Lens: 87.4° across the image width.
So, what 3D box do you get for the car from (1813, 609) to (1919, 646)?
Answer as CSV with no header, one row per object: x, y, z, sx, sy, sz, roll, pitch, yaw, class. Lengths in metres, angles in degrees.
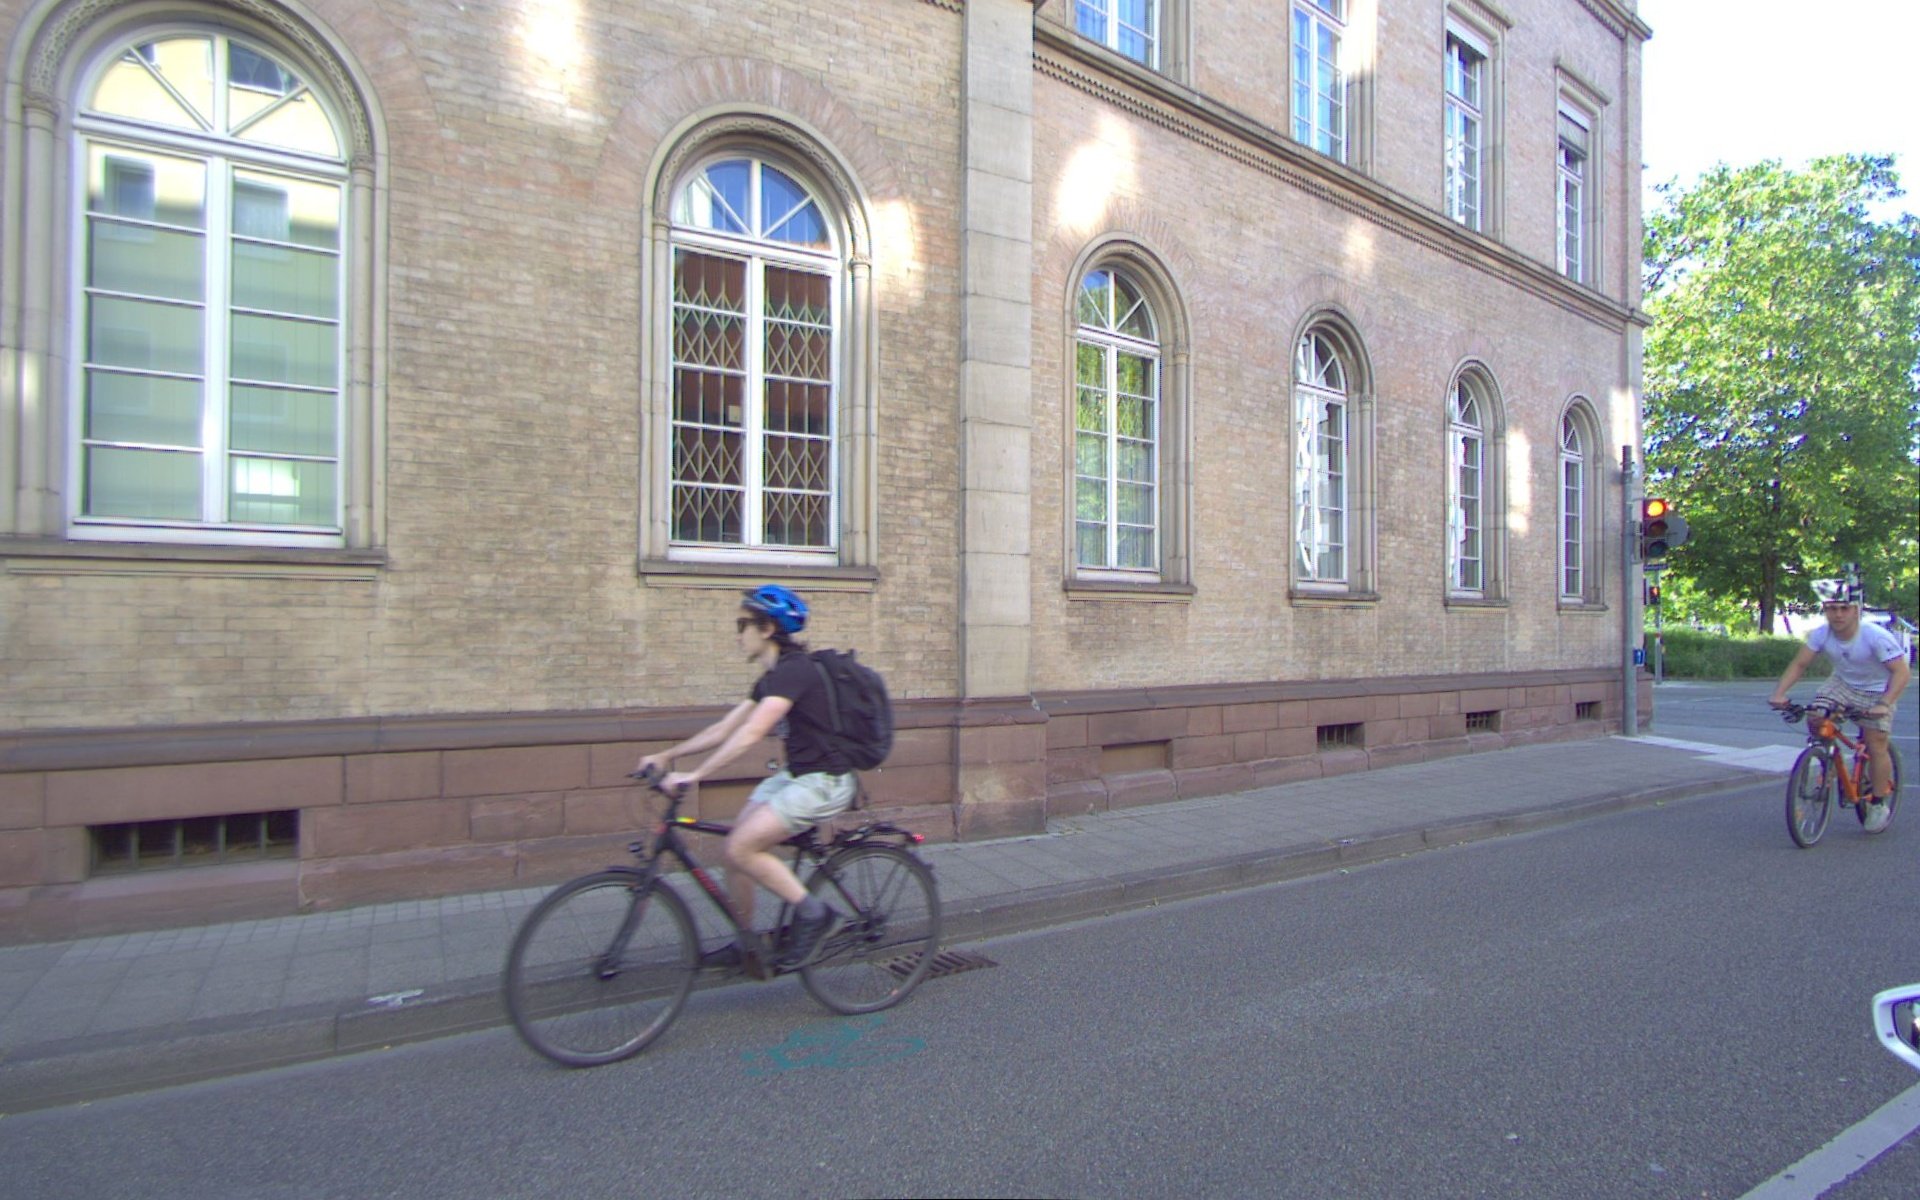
53.506,1.603,59.396,1.983,2.040,4.409,2,0,-38,car

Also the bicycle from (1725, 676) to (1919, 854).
6.774,1.196,7.643,1.941,1.167,0.624,1,-1,-23,bicycle

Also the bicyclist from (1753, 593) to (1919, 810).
6.691,0.731,7.623,0.905,1.543,0.701,1,-1,-22,bicyclist

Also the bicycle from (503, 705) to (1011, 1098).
-0.753,1.071,4.084,1.948,1.167,0.587,1,-1,-33,bicycle

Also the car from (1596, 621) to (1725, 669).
24.385,1.524,35.033,1.636,1.476,3.382,2,0,-39,car

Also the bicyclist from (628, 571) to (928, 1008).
-0.737,0.684,4.108,1.067,1.547,0.587,1,-1,-33,bicyclist
